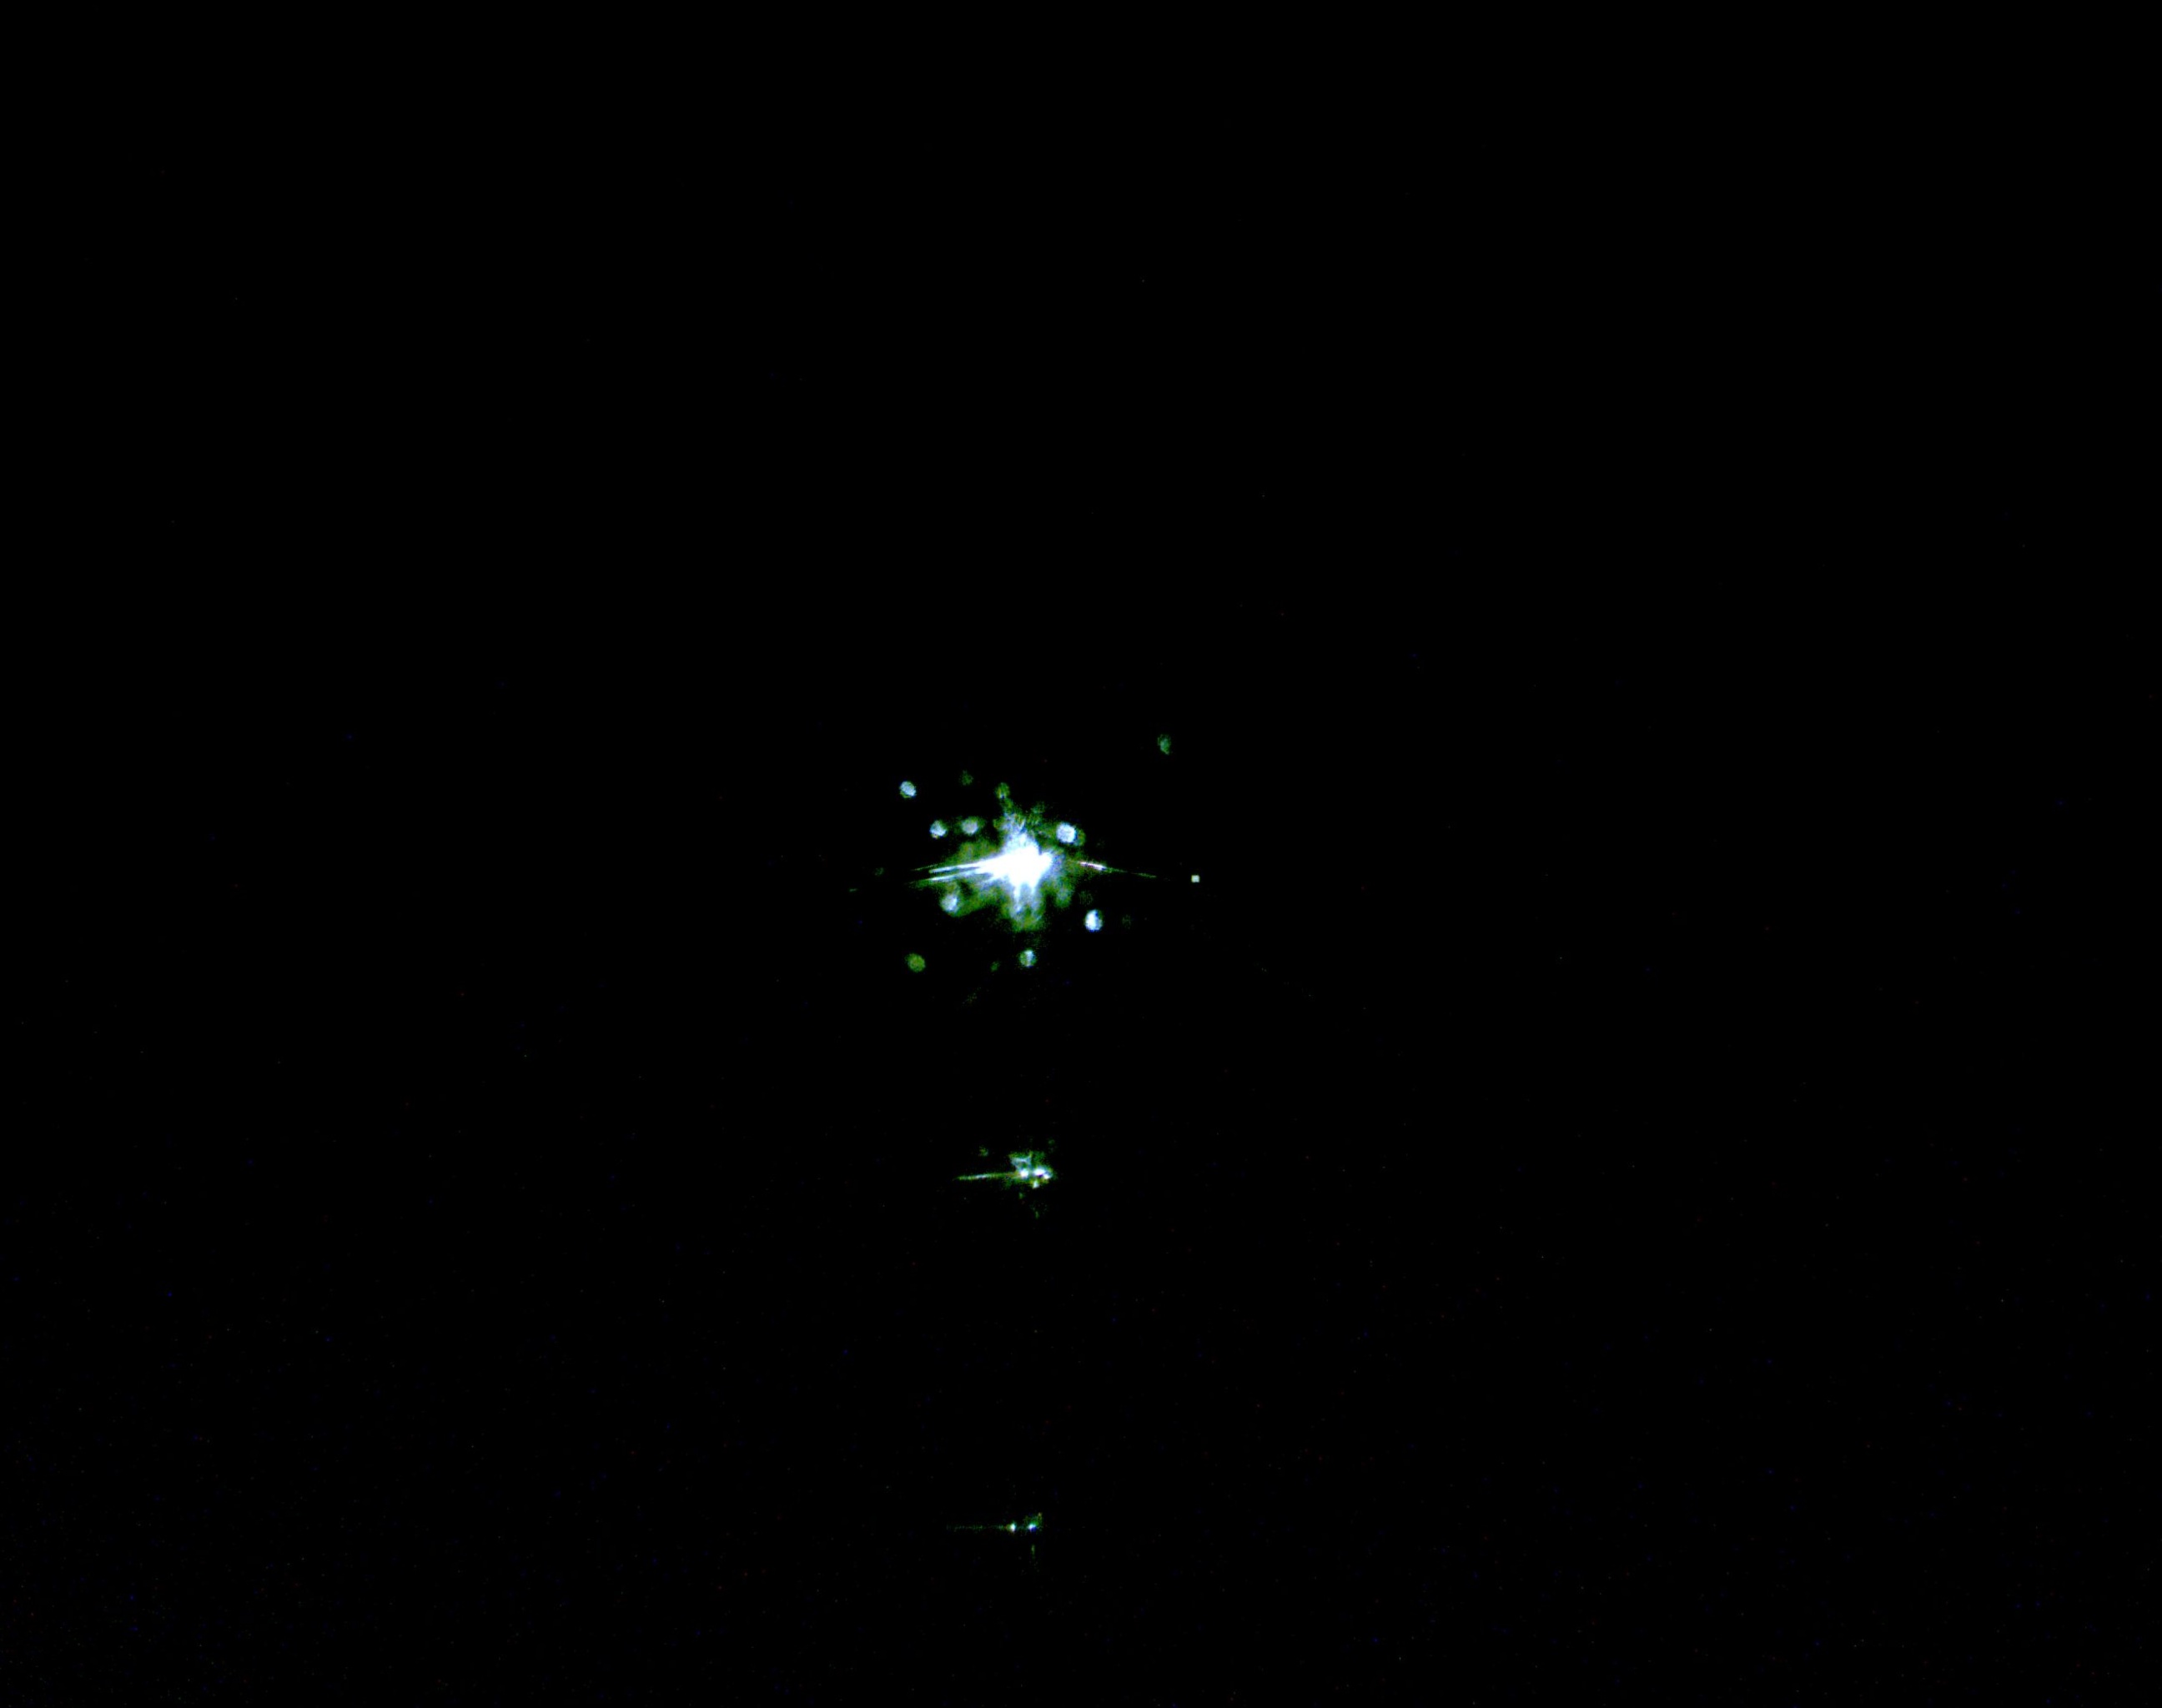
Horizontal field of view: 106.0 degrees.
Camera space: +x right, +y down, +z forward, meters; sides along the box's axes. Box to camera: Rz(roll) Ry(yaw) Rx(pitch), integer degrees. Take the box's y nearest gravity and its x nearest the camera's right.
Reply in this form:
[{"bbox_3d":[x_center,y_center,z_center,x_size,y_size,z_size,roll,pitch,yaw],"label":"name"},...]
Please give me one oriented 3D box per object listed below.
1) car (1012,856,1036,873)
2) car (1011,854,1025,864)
[{"bbox_3d":[-5.156,0.944,74.018,1.988,1.472,3.833,-1,0,-2],"label":"car"},{"bbox_3d":[-8.978,0.702,115.833,1.801,1.338,4.184,-1,-1,-3],"label":"car"}]
